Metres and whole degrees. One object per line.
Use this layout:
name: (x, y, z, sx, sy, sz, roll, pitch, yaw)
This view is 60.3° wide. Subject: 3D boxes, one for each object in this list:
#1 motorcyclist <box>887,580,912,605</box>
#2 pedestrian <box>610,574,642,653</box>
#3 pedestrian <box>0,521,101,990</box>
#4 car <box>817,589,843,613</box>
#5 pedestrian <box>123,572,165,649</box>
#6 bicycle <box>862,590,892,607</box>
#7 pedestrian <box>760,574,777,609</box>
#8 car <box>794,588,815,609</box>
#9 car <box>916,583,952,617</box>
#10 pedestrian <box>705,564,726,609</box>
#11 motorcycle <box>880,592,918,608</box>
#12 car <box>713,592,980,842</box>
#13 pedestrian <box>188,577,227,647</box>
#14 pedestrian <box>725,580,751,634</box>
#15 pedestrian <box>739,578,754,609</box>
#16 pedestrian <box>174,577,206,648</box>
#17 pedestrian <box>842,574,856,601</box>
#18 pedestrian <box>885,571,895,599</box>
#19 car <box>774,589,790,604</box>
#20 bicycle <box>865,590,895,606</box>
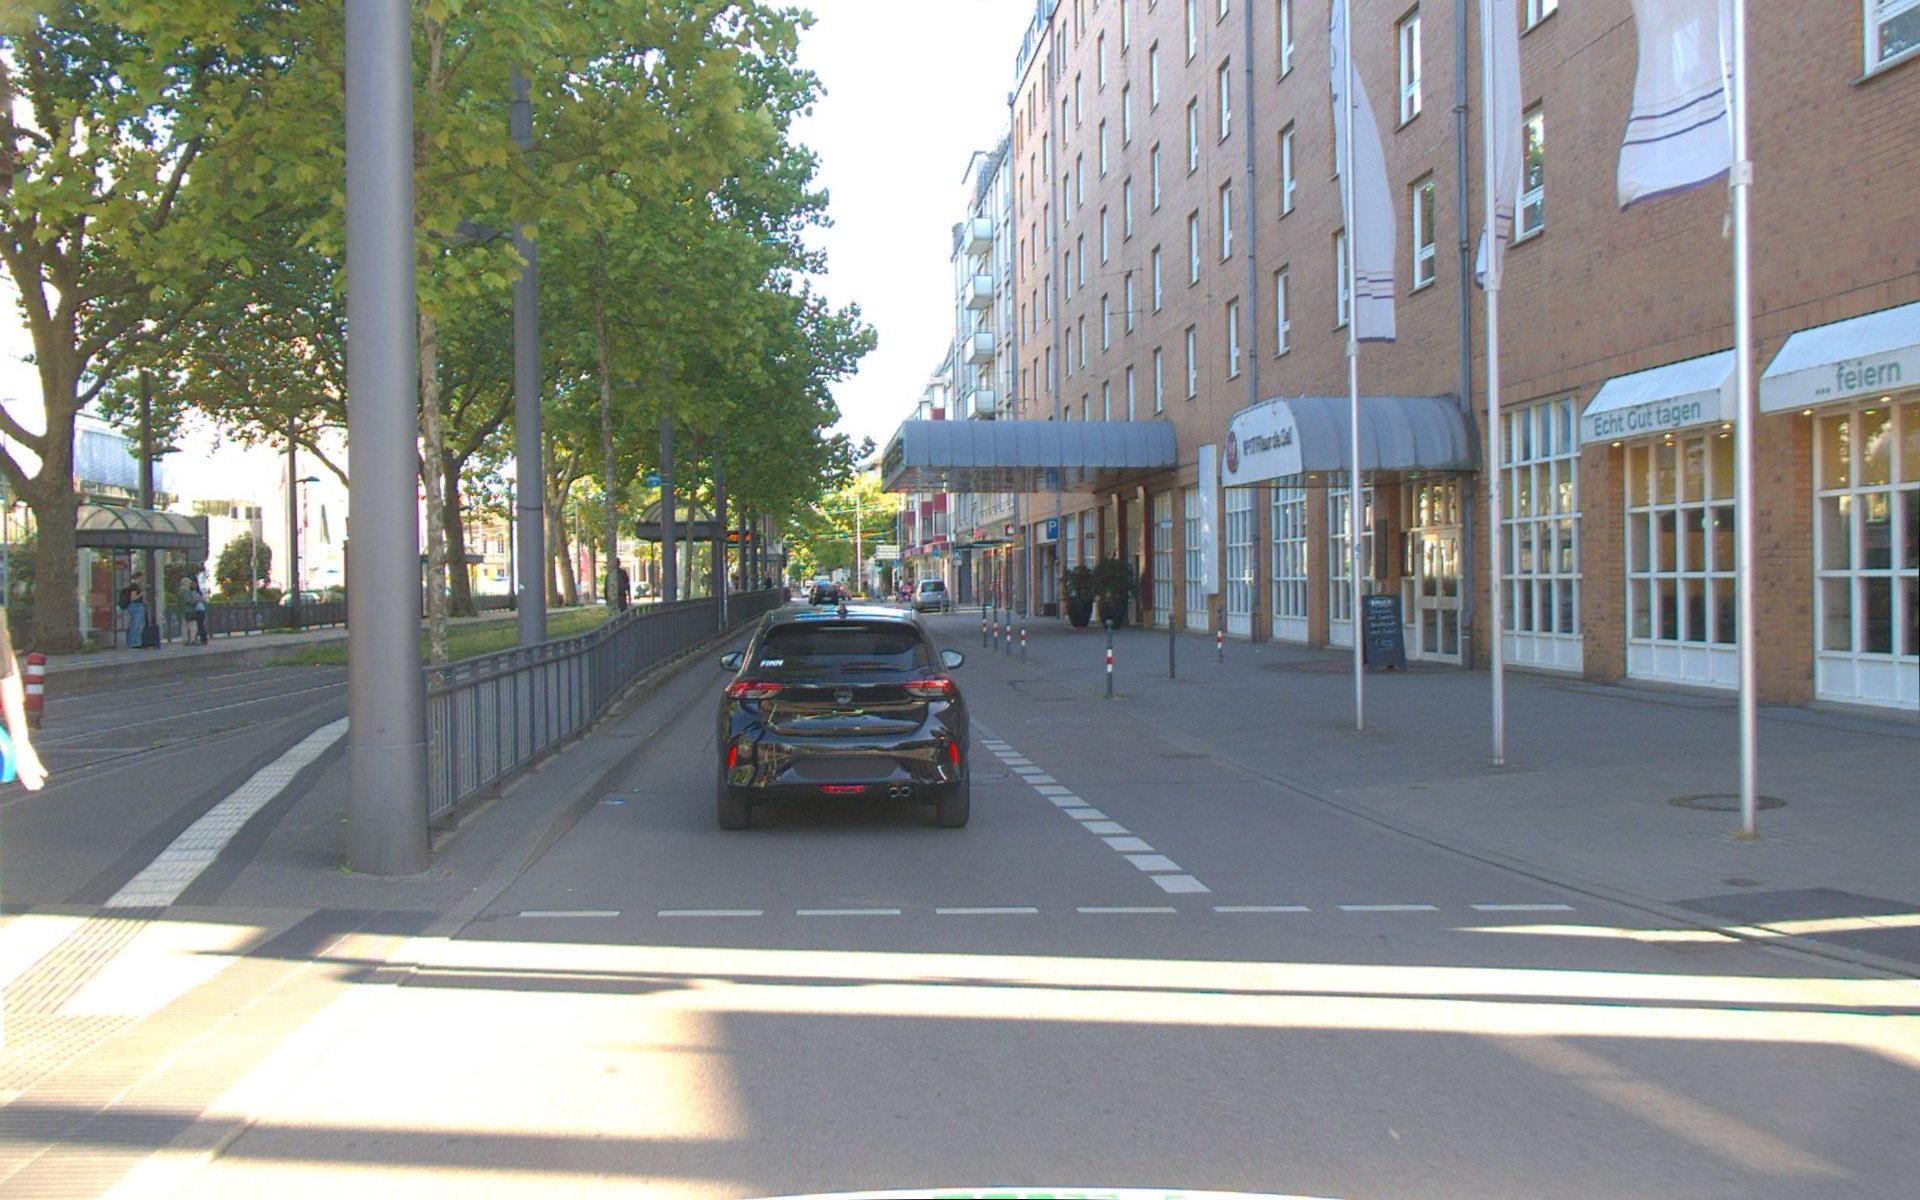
motorcyclist: (-4.250, -0.515, 116.186, 1.294, 1.727, 1.222, 0, 0, -35)
pedestrian: (-7.379, 0.292, 36.555, 0.592, 1.709, 0.486, -2, 0, -5)
pedestrian: (-3.856, 0.576, 6.252, 0.699, 1.709, 0.832, -2, 0, 3)
car: (-8.269, 0.043, 104.869, 1.582, 1.528, 3.686, 0, 0, -5)
pedestrian: (-17.463, 0.215, 35.398, 0.476, 1.600, 0.669, 1, 2, 38)
bicycle: (-6.408, -0.122, 127.842, 2.308, 1.255, 0.683, 0, 0, -3)
pedestrian: (-8.170, -0.378, 70.432, 0.708, 1.470, 0.625, 0, 0, -8)
car: (-11.660, -0.121, 123.903, 1.582, 1.528, 3.686, 0, 0, -5)
car: (-1.323, -0.005, 82.574, 1.639, 1.681, 3.688, 0, 0, -4)
pedestrian: (-7.696, -0.433, 52.040, 0.592, 1.389, 0.486, -2, 0, -5)
motorcycle: (-4.311, -0.016, 116.284, 1.293, 1.077, 3.060, 0, 0, -34)
car: (-0.823, 0.721, 12.032, 1.639, 1.528, 3.687, 0, 0, -4)
pedestrian: (-17.453, 0.274, 38.381, 0.551, 1.600, 0.640, 0, 2, 7)
pedestrian: (-6.075, 0.181, 45.207, 0.708, 1.470, 0.625, 0, 0, -9)
pedestrian: (-9.708, -0.286, 75.113, 0.592, 1.389, 0.486, -2, 0, -5)
pedestrian: (-17.566, 0.291, 37.738, 0.491, 1.600, 0.494, 0, 2, -1)
pedestrian: (-12.154, -1.359, 181.348, 1.139, 2.922, 0.907, -1, 0, -38)
pedestrian: (-7.368, -1.537, 173.963, 0.899, 2.922, 1.149, 0, 0, -6)
car: (-18.447, -0.344, 171.337, 1.582, 1.528, 3.686, 0, 0, -5)
bicycle: (-6.240, -0.135, 129.487, 2.308, 1.255, 0.683, 0, 0, -3)
